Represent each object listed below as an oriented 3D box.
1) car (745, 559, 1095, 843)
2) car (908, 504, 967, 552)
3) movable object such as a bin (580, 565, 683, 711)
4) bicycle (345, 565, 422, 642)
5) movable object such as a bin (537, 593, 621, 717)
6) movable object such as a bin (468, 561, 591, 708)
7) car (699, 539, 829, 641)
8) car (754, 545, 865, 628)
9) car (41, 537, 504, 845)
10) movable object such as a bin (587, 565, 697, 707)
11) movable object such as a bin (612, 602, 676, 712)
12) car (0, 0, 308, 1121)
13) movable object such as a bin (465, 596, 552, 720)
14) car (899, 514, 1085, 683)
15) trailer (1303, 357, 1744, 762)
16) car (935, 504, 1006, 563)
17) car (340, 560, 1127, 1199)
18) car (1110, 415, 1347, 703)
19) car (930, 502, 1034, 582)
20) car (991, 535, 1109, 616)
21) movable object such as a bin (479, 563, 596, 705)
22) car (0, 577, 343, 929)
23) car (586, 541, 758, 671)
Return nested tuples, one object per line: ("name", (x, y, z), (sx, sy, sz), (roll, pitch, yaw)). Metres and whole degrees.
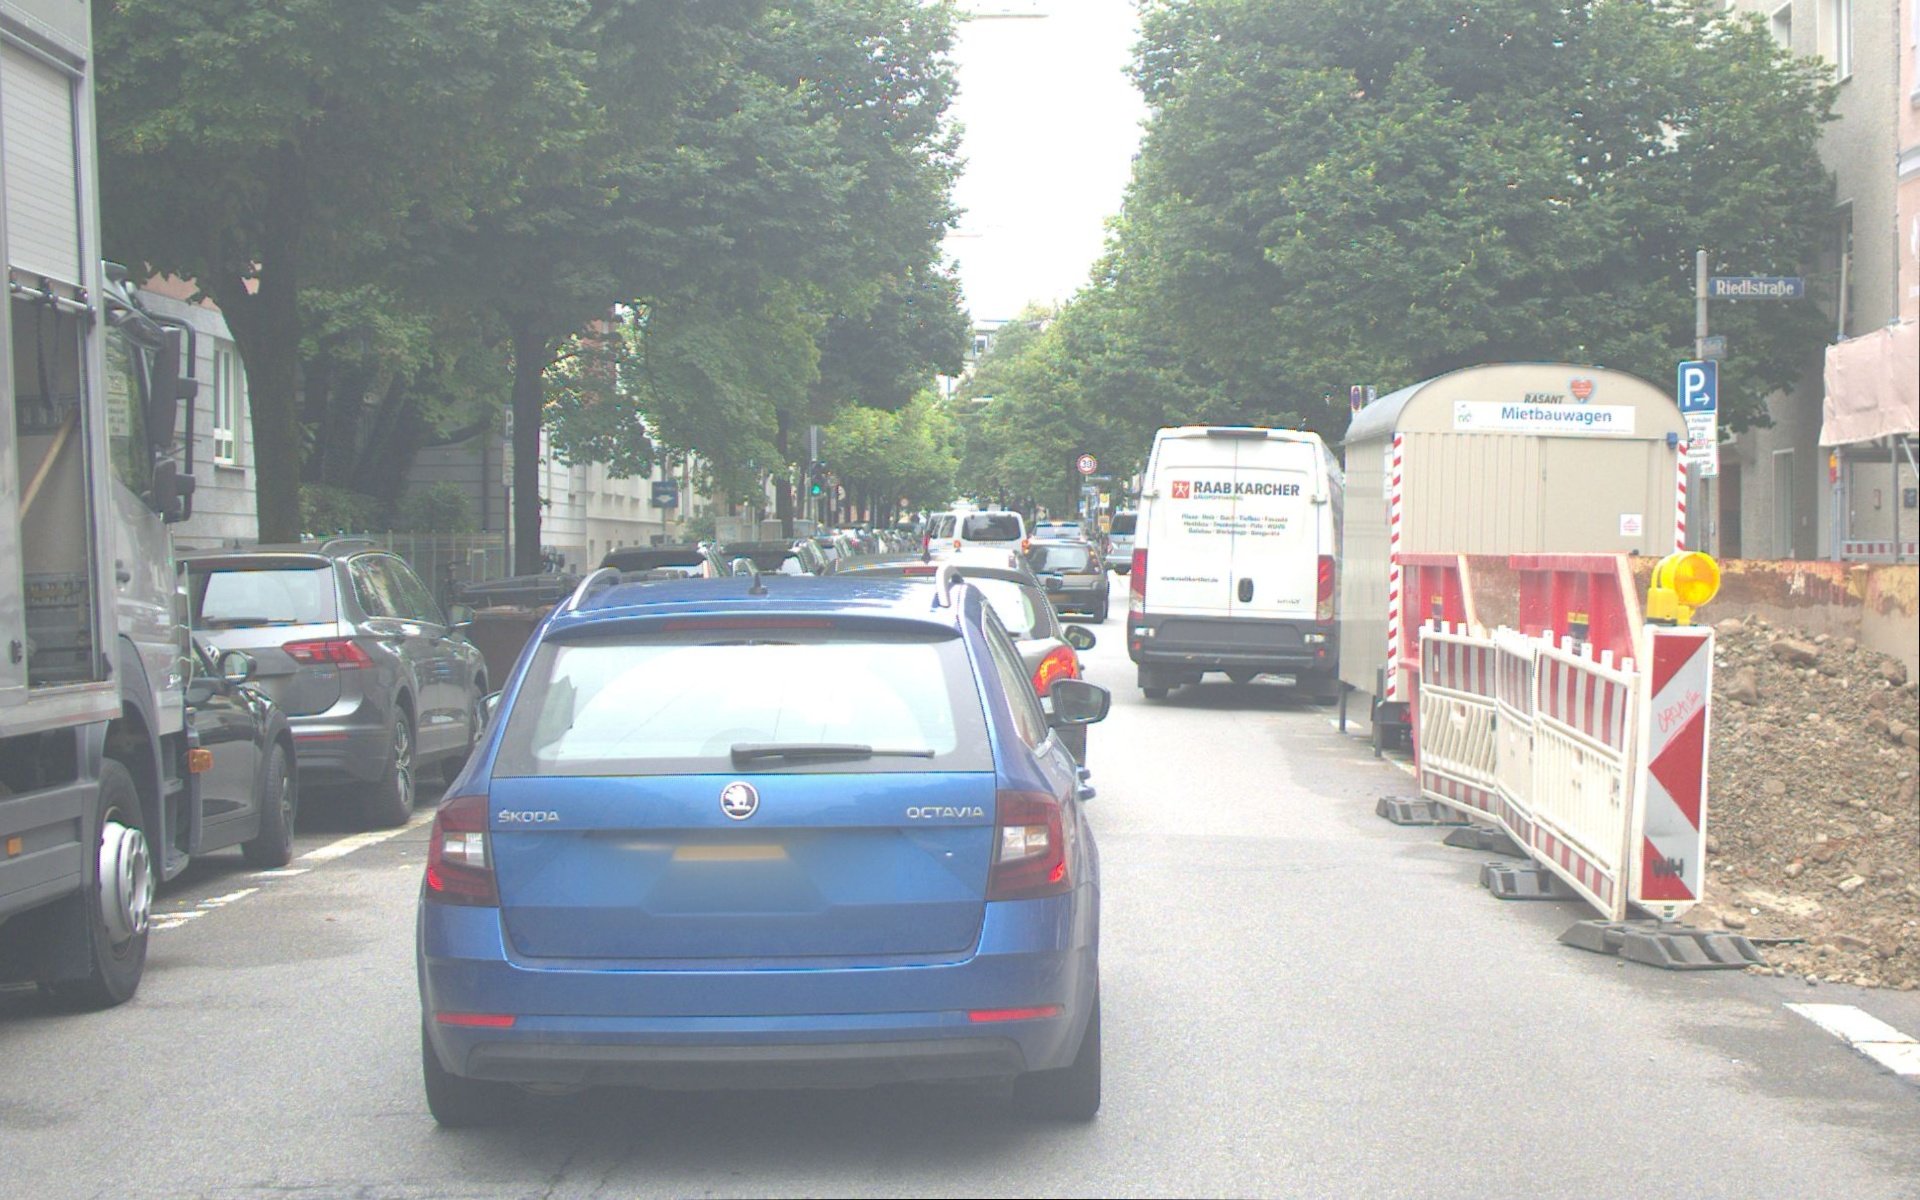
("car", (-0.136, 0.494, 19.430), (1.741, 1.417, 3.664), (1, 1, 3))
("car", (-0.791, -2.560, 121.915), (2.008, 1.647, 4.347), (1, 1, 0))
("movable object such as a bin", (-3.233, 0.359, 33.928), (0.918, 1.372, 1.080), (-2, 1, -3))
("bicycle", (-8.412, 0.040, 50.218), (0.635, 1.063, 2.387), (-1, 1, 2))
("movable object such as a bin", (-3.658, 0.524, 33.024), (0.711, 1.144, 0.636), (-2, 1, -2))
("movable object such as a bin", (-4.231, 0.331, 33.865), (1.081, 1.372, 1.084), (-2, 1, -3))
("car", (-2.956, -0.178, 52.473), (1.812, 1.473, 4.000), (0, 1, -1))
("car", (-2.794, -0.282, 64.515), (1.812, 1.473, 4.000), (0, 1, 1))
("car", (-3.987, 0.454, 20.628), (1.785, 1.622, 4.185), (-1, 1, 2))
("movable object such as a bin", (-3.227, 0.355, 35.027), (1.020, 1.372, 1.104), (-2, 1, -3))
("movable object such as a bin", (-3.039, 0.542, 33.073), (0.546, 1.017, 0.636), (-2, 1, -2))
("car", (-3.999, -0.490, 8.944), (2.812, 3.804, 8.723), (-1, 1, 1))
("movable object such as a bin", (-4.326, 0.550, 32.982), (0.721, 1.134, 0.658), (-2, 1, -2))
("car", (0.342, -0.073, 37.229), (1.867, 1.690, 4.347), (1, 1, 0))
("trailer", (4.346, -0.321, 27.861), (2.502, 2.830, 6.901), (1, 0, 1))
("car", (0.276, -1.932, 99.429), (1.867, 1.647, 4.348), (1, 1, -2))
("car", (-0.538, 0.621, 10.037), (1.789, 1.455, 4.315), (-1, 1, 0))
("car", (2.823, -0.406, 34.989), (2.113, 2.654, 5.498), (1, 0, 7))
("car", (0.508, -1.420, 82.786), (1.867, 1.863, 4.348), (1, 1, -8))
("car", (1.585, -0.467, 62.087), (1.867, 1.343, 4.348), (1, 1, -2))
("movable object such as a bin", (-4.284, 0.337, 34.966), (1.057, 1.372, 1.096), (-2, 1, -3))
("car", (-4.114, 0.616, 15.824), (1.699, 1.404, 3.708), (-1, 1, 3))
("car", (-3.446, 0.031, 41.750), (1.812, 1.473, 4.000), (0, 1, -1))
